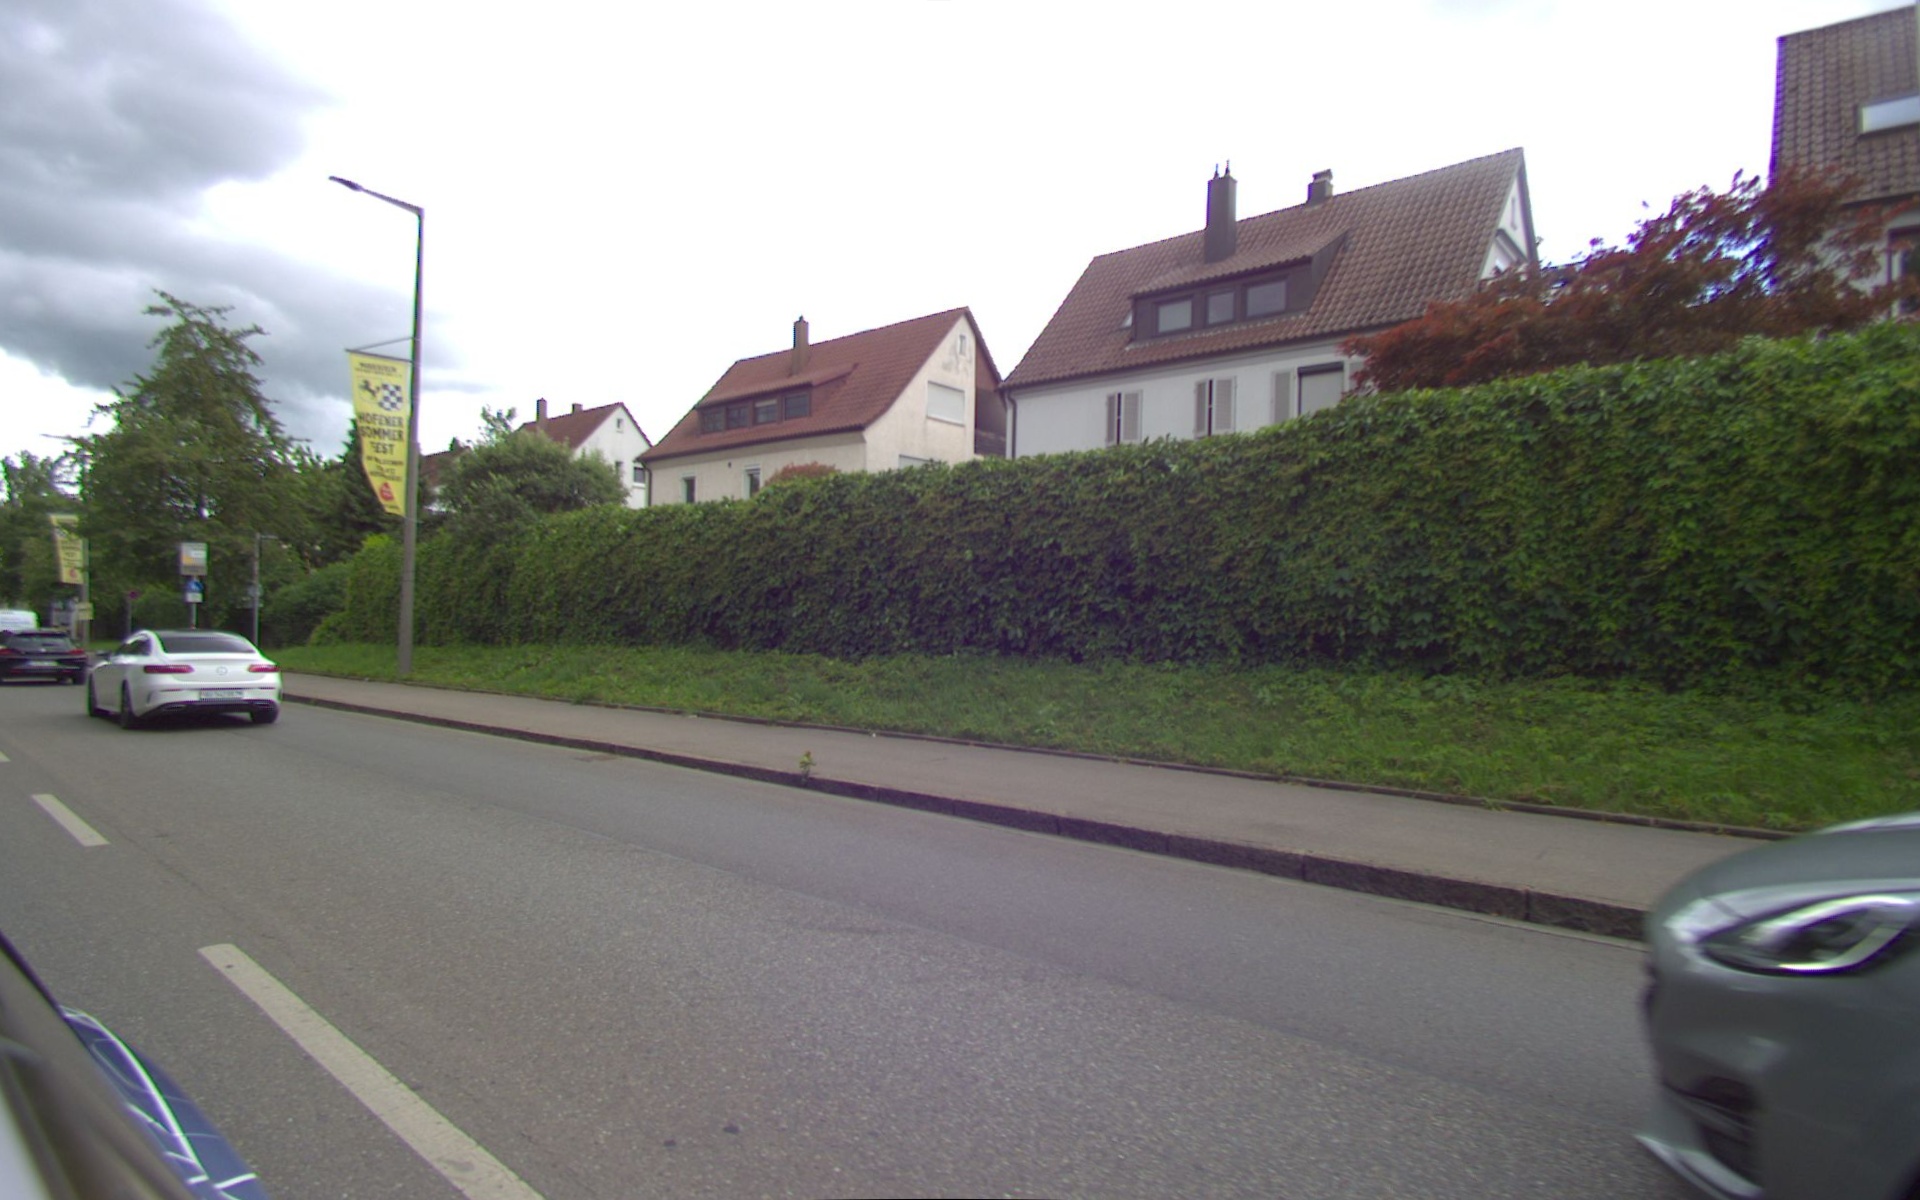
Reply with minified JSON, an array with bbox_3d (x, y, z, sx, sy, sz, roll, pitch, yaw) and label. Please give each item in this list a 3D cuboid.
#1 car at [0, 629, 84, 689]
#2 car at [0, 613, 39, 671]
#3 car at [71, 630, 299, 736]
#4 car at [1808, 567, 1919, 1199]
[{"bbox_3d":[-23.279,1.420,25.181,4.476,1.358,1.633,-1,-3,42],"label":"car"},{"bbox_3d":[-33.987,1.451,35.545,4.909,1.947,1.886,-1,-3,42],"label":"car"},{"bbox_3d":[-12.061,1.179,15.641,4.487,1.394,1.867,-1,-3,40],"label":"car"},{"bbox_3d":[3.659,0.726,1.217,3.998,1.530,1.733,-1,-4,41],"label":"car"}]
